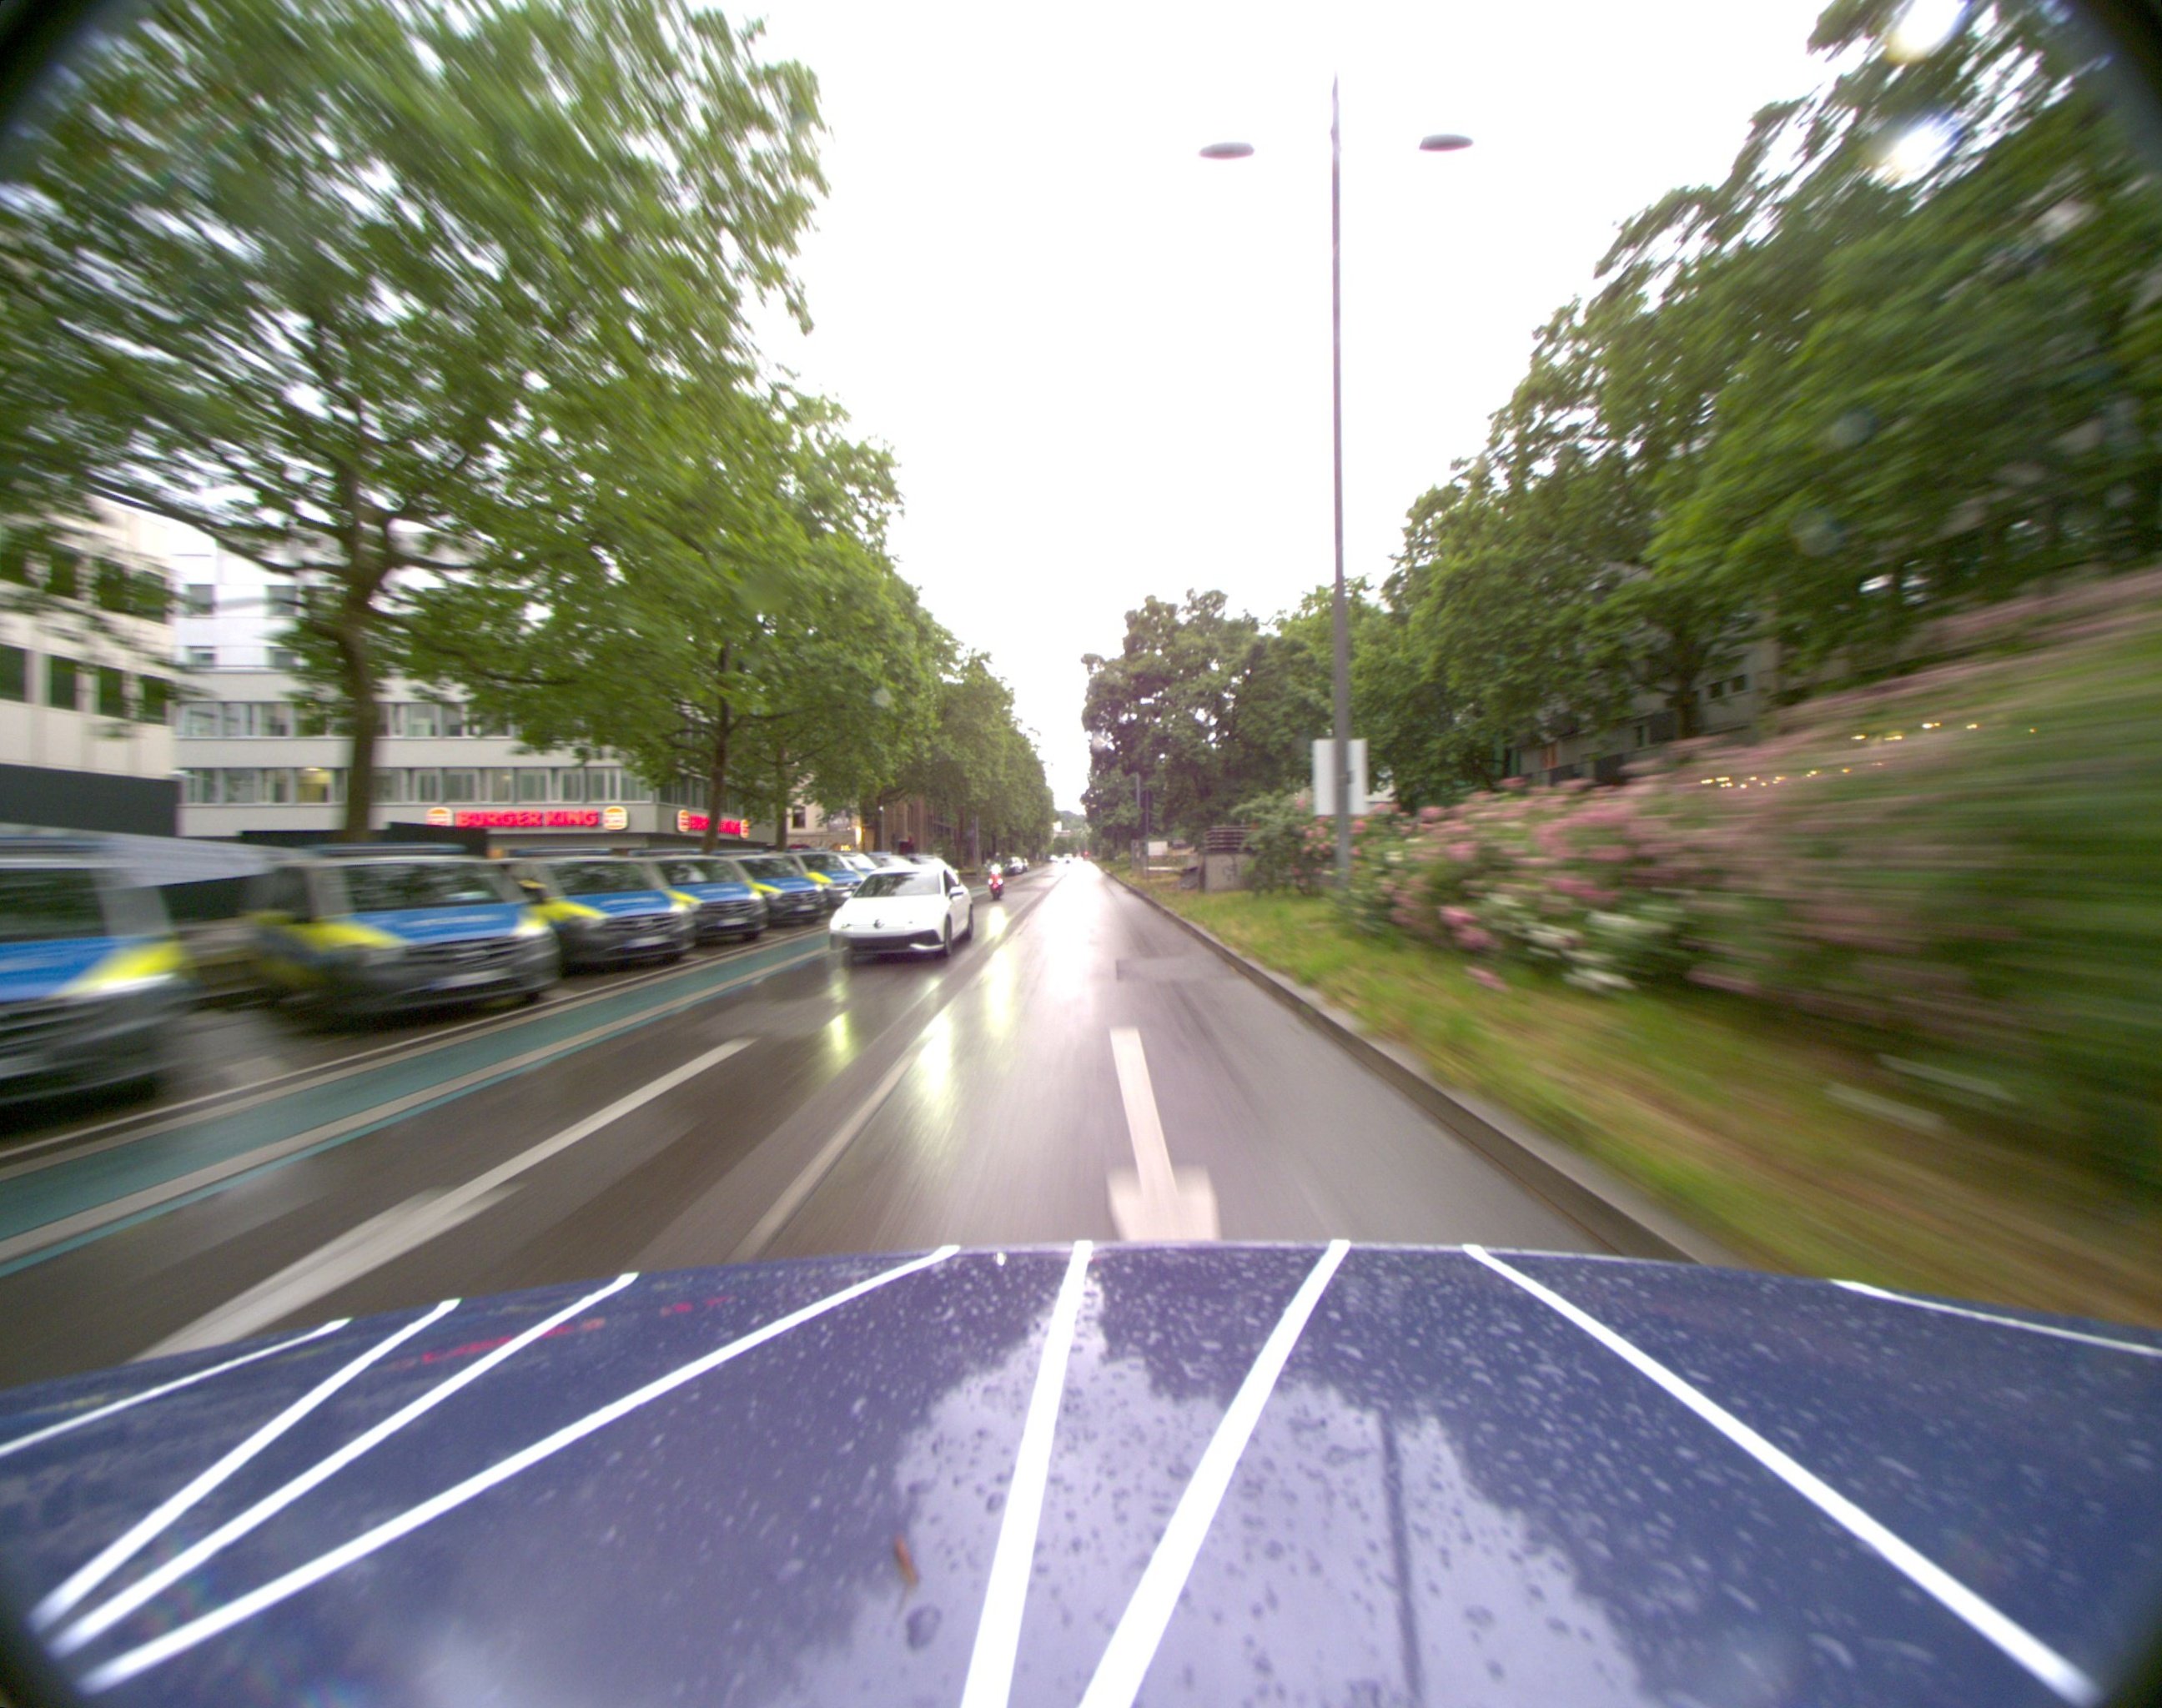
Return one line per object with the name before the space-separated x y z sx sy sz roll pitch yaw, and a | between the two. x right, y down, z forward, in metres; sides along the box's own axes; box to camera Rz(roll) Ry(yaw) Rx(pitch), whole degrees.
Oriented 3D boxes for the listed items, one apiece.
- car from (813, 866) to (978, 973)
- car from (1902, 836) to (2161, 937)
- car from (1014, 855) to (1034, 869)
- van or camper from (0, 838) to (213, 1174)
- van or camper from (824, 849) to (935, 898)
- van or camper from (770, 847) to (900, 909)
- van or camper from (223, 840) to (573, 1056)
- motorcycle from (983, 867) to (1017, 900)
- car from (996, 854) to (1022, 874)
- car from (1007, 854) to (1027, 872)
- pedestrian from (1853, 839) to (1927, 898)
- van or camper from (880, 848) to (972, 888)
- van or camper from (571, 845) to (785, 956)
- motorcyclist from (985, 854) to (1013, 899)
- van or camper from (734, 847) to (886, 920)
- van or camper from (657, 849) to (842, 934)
car | -2.967 0.983 13.198 1.866 1.436 4.508 -1 0 -2
car | 16.379 0.443 11.954 1.998 1.362 4.539 -3 0 1
car | -6.126 0.831 81.900 1.747 1.424 4.585 -2 0 1
van or camper | -8.656 0.987 5.895 5.003 2.002 2.004 -2 1 36
van or camper | -9.087 0.892 34.101 5.074 2.007 2.001 -2 0 37
van or camper | -8.743 0.811 26.854 4.841 1.986 1.871 -1 1 37
van or camper | -8.586 0.943 9.385 5.195 1.981 2.004 -2 1 35
motorcycle | -3.057 1.085 28.402 0.869 1.136 2.019 -2 0 -17
car | -6.210 0.822 66.083 1.797 1.593 4.423 -2 0 -1
car | -5.938 0.779 71.100 1.756 1.576 4.408 -2 0 -4
pedestrian | 19.548 0.347 18.381 0.765 1.372 0.933 -2 1 -2
van or camper | -8.313 0.752 40.585 4.933 1.980 2.006 -2 1 38
van or camper | -8.725 0.884 16.260 5.093 2.013 2.110 -1 0 38
motorcyclist | -3.060 0.820 28.341 0.850 1.635 0.870 -2 1 -18
van or camper | -8.345 0.852 23.233 4.781 1.999 2.004 -1 1 37
van or camper | -8.829 0.918 20.092 5.010 1.984 2.004 -1 1 33
